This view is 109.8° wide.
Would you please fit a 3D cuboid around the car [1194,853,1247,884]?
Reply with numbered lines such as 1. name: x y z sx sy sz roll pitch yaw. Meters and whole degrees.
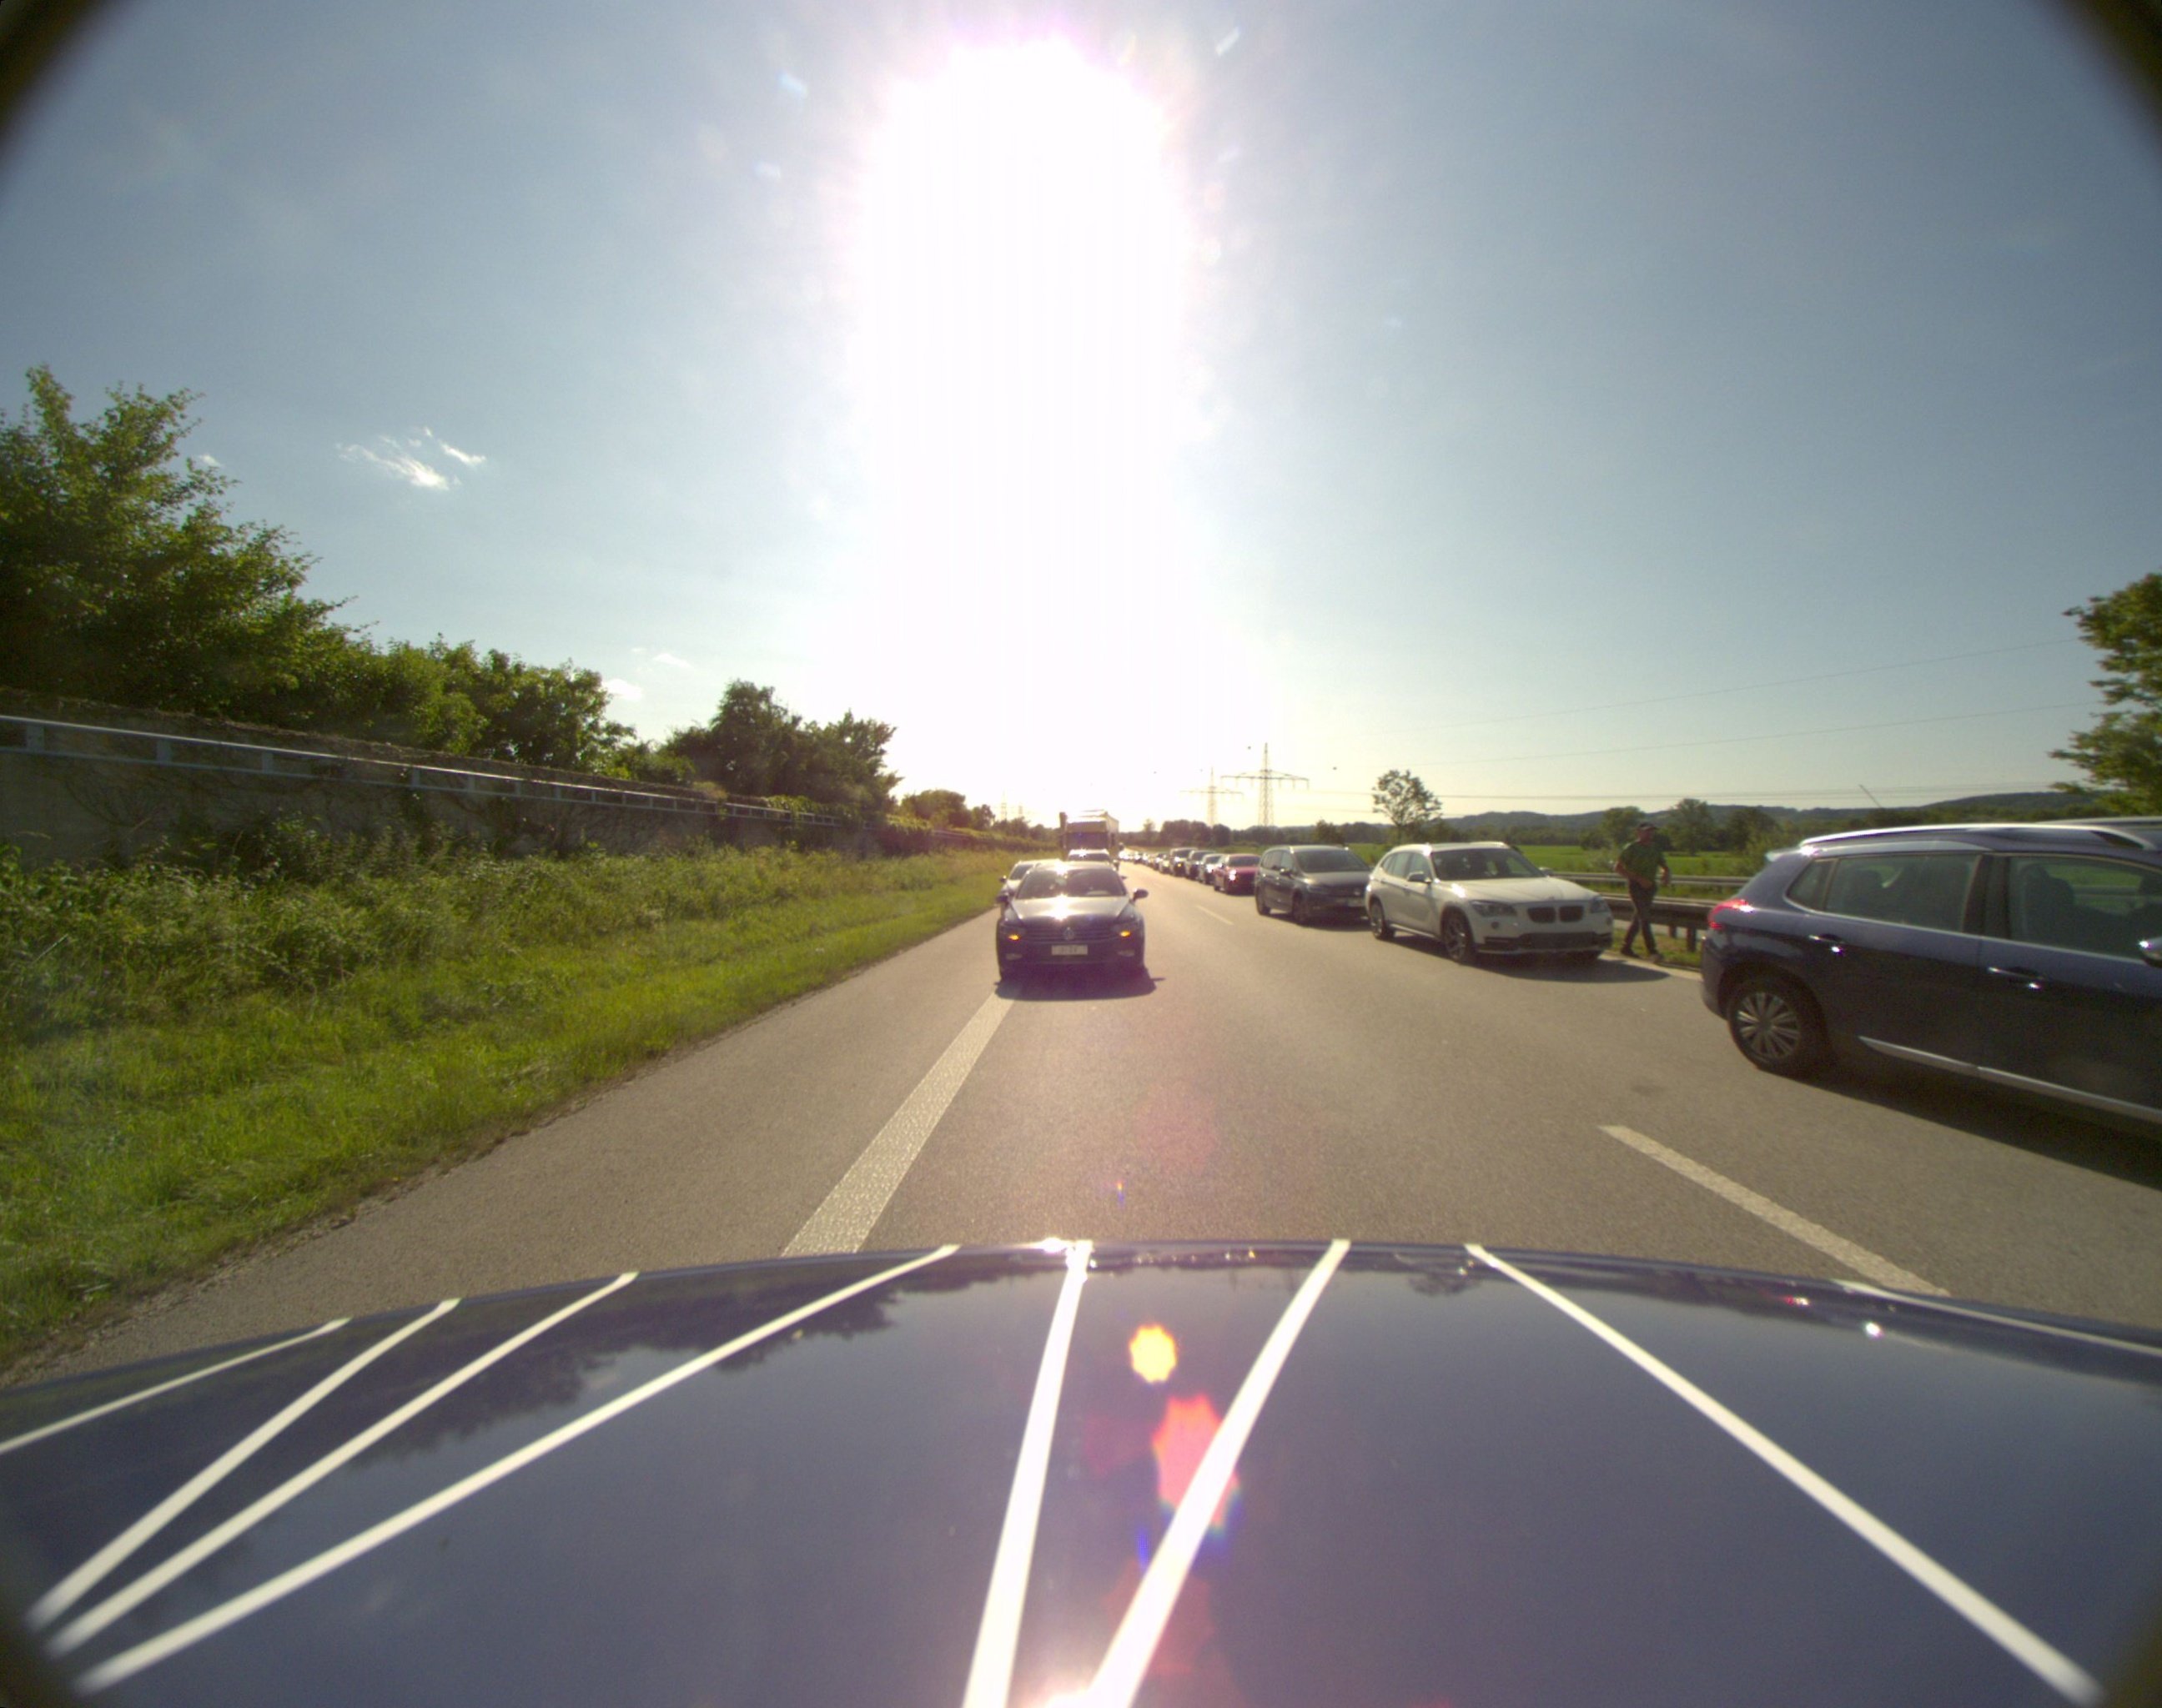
1. car: 6.724 0.681 36.953 1.895 1.390 4.000 -1 0 1

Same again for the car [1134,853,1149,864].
1. car: 7.741 0.552 97.163 1.819 1.450 4.118 0 0 2

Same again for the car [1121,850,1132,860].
1. car: 8.478 0.103 140.941 1.813 1.783 3.773 -1 0 1

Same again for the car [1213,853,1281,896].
1. car: 6.081 0.715 28.261 1.819 1.450 4.118 0 0 3

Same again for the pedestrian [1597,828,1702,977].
1. pedestrian: 6.923 0.567 9.287 0.672 1.740 0.814 0 1 1

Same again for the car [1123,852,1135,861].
1. car: 7.908 0.440 125.967 1.819 1.450 4.118 -2 0 3

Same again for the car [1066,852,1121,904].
1. car: 0.460 0.773 26.517 1.716 1.614 4.326 -2 0 2

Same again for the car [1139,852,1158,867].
1. car: 7.074 0.592 79.885 1.819 1.450 4.118 -2 0 3

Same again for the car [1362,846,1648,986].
1. car: 5.619 0.704 10.781 1.832 1.564 4.164 -1 0 2

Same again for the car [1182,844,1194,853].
1. car: 20.790 -1.122 147.927 1.863 1.622 4.393 -2 1 3

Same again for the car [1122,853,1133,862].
1. car: 8.045 0.599 131.613 1.819 1.450 4.118 0 0 3

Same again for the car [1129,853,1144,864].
1. car: 7.759 0.595 105.591 1.819 1.450 4.117 -2 0 1

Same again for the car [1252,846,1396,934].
1. car: 5.073 0.671 16.482 1.819 1.606 4.117 -2 0 1

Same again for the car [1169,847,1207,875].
1. car: 6.963 0.439 49.910 1.902 1.777 4.200 -1 0 1

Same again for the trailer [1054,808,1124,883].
1. trailer: 0.850 -0.567 49.453 3.386 4.089 13.956 -2 1 5

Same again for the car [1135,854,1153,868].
1. car: 7.150 0.791 86.479 1.819 1.450 4.117 0 0 1

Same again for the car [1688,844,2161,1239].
1. car: 5.139 0.746 3.328 1.692 1.526 3.948 -3 0 -2

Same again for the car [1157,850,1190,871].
1. car: 6.905 0.480 57.086 1.998 1.522 4.000 -1 0 1

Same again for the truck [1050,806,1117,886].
1. truck: 0.310 -0.478 43.366 3.332 4.089 6.970 -2 1 3

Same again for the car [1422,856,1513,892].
1. car: 16.691 0.817 33.066 1.716 1.405 4.567 -2 0 2

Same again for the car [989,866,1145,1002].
1. car: -0.097 0.935 10.718 1.716 1.405 4.326 -2 0 2

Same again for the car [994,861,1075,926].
1. car: -1.117 0.949 20.089 1.716 1.417 4.326 -2 0 2

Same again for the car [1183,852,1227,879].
1. car: 6.967 0.626 43.039 1.894 1.446 4.000 -1 0 2

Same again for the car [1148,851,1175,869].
1. car: 6.986 0.532 66.381 1.998 1.522 4.000 -1 0 1
